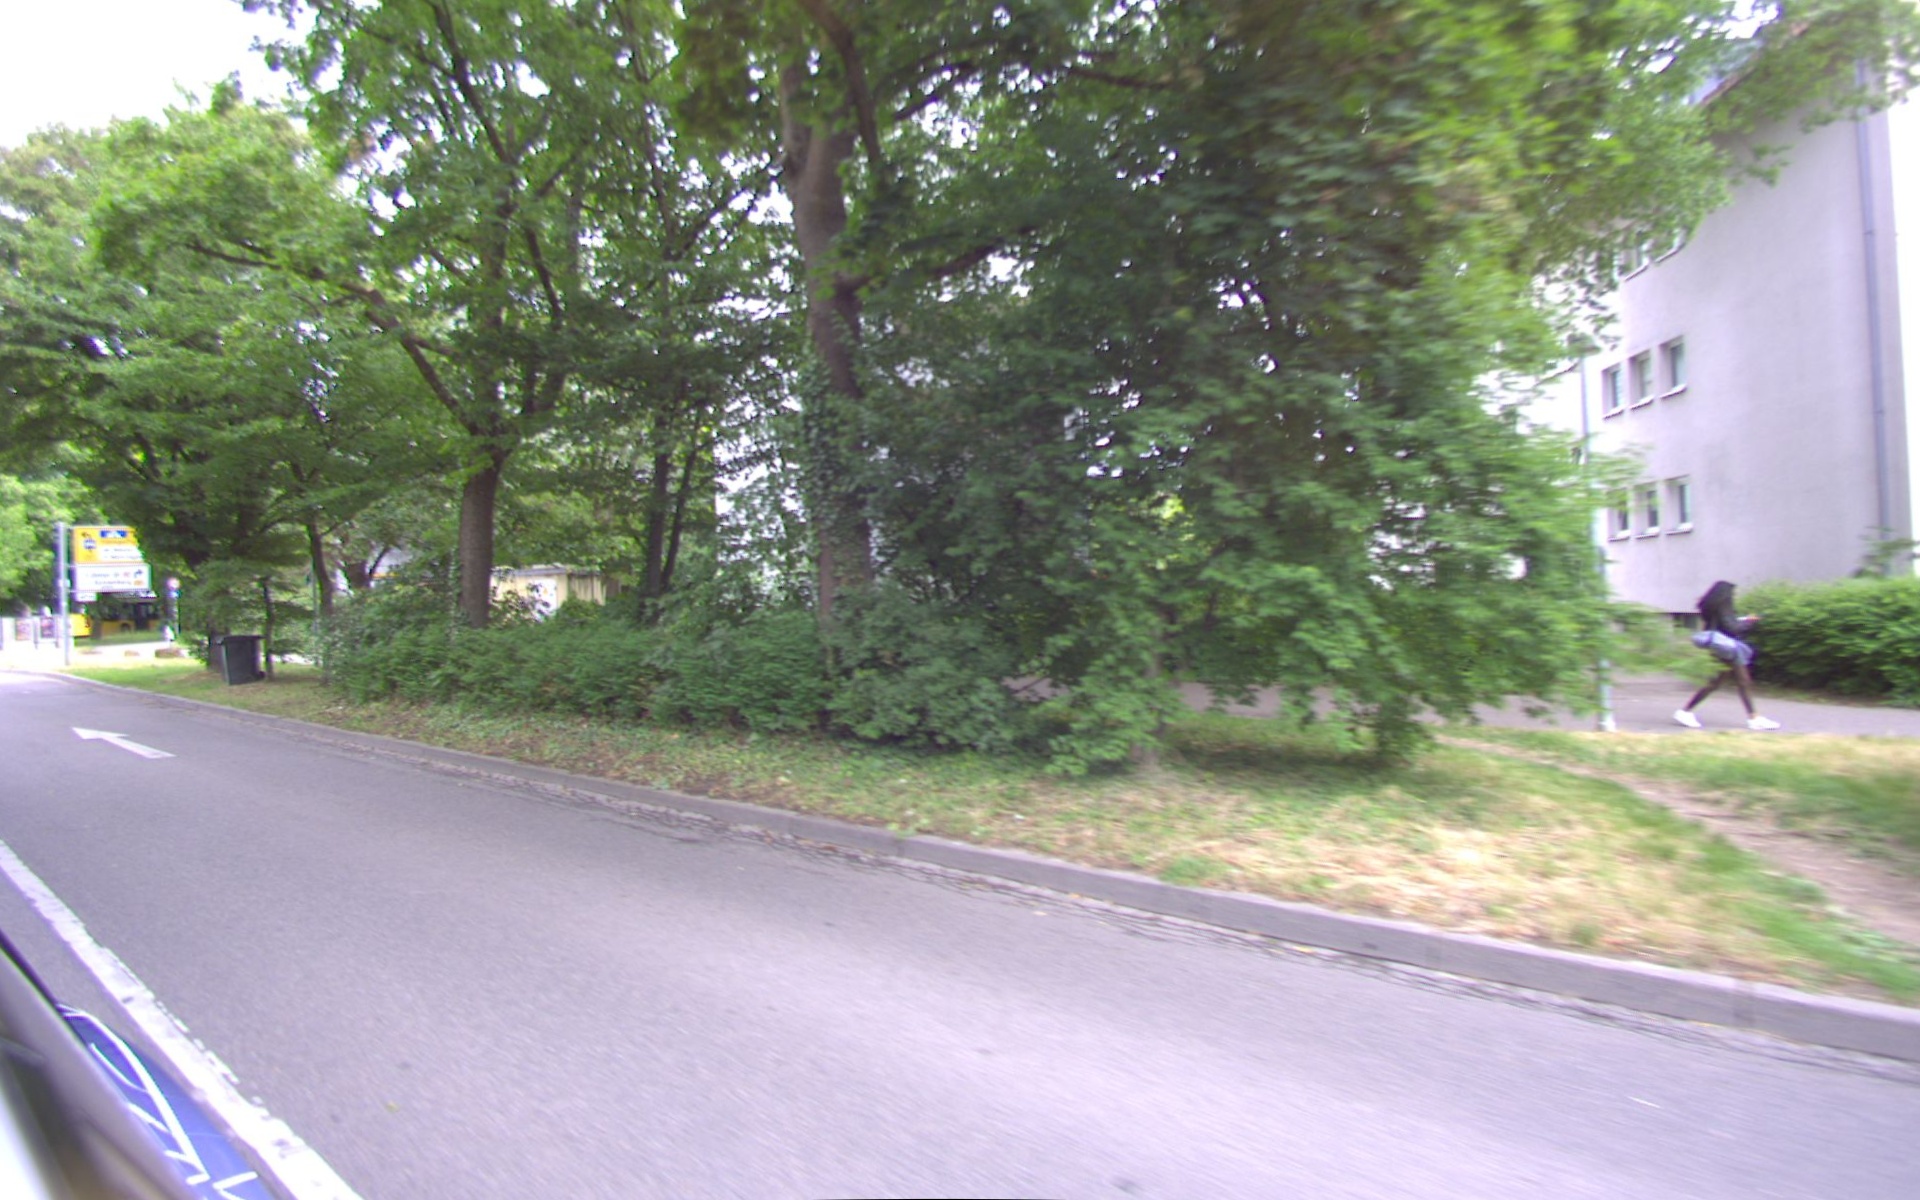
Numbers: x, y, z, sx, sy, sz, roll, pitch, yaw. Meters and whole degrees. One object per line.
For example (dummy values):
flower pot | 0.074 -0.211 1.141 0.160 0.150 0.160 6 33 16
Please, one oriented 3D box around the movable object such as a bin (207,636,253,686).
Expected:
movable object such as a bin | -13.866 1.156 19.233 0.590 0.872 0.580 -4 2 -28

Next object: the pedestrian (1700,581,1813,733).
pedestrian | 8.510 0.591 10.815 0.872 1.511 0.602 -2 2 41

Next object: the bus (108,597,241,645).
bus | -58.868 1.494 76.288 3.007 3.031 9.708 -4 1 -5

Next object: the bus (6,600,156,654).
bus | -58.072 1.657 67.251 3.007 3.031 8.440 -4 1 -5

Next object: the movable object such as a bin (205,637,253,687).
movable object such as a bin | -13.570 1.138 18.805 0.590 0.851 0.580 -4 2 -28

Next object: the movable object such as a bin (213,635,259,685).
movable object such as a bin | -14.143 1.157 19.783 0.610 0.885 0.595 -4 2 -28

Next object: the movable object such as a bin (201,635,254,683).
movable object such as a bin | -14.615 1.172 20.209 0.718 0.869 0.624 -5 2 -28
